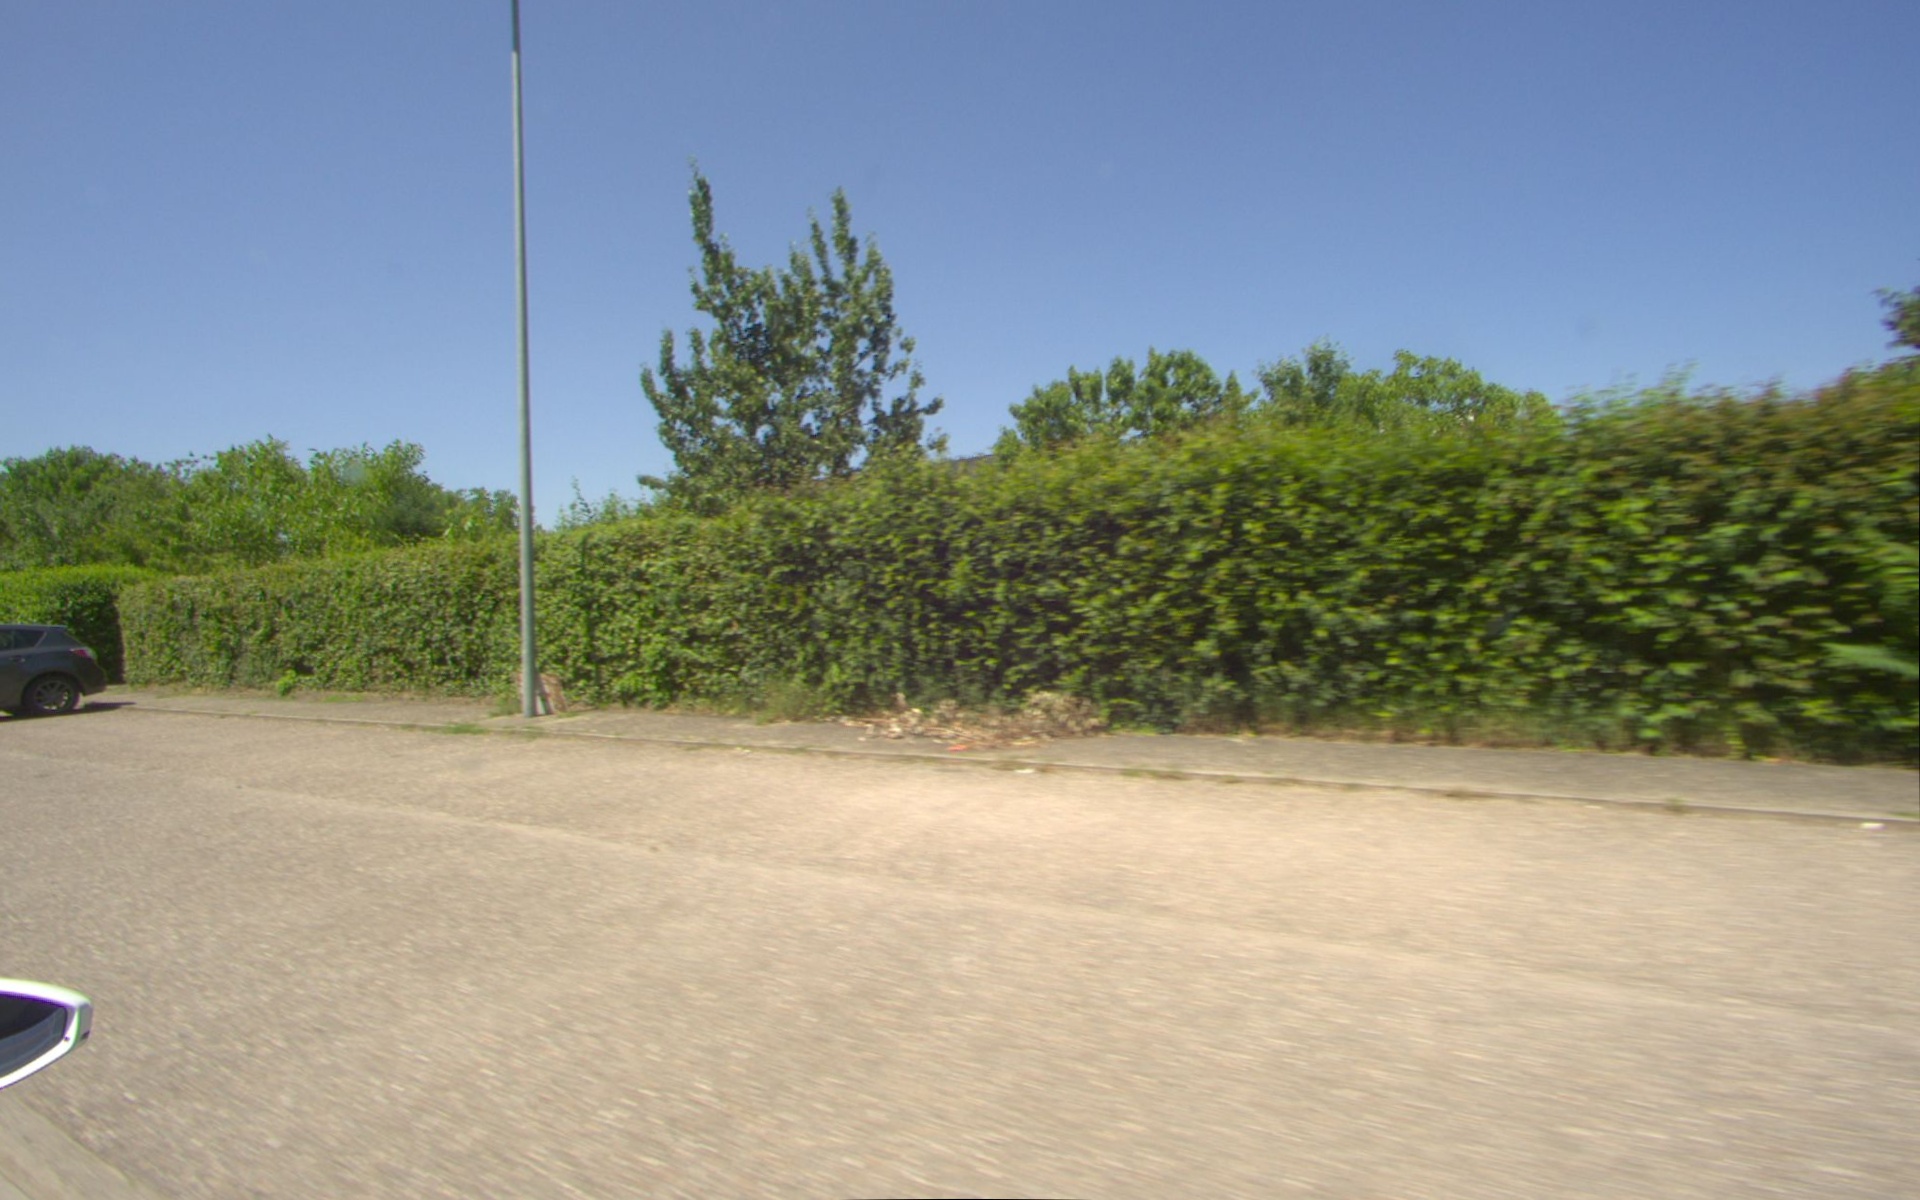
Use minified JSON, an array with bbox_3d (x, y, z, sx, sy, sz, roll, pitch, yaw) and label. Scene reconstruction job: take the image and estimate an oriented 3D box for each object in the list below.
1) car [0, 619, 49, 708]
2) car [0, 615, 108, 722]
[{"bbox_3d":[-17.797,1.215,16.450,1.749,1.475,3.791,-2,2,32],"label":"car"},{"bbox_3d":[-15.381,1.102,14.544,1.856,1.515,4.154,-2,1,32],"label":"car"}]
